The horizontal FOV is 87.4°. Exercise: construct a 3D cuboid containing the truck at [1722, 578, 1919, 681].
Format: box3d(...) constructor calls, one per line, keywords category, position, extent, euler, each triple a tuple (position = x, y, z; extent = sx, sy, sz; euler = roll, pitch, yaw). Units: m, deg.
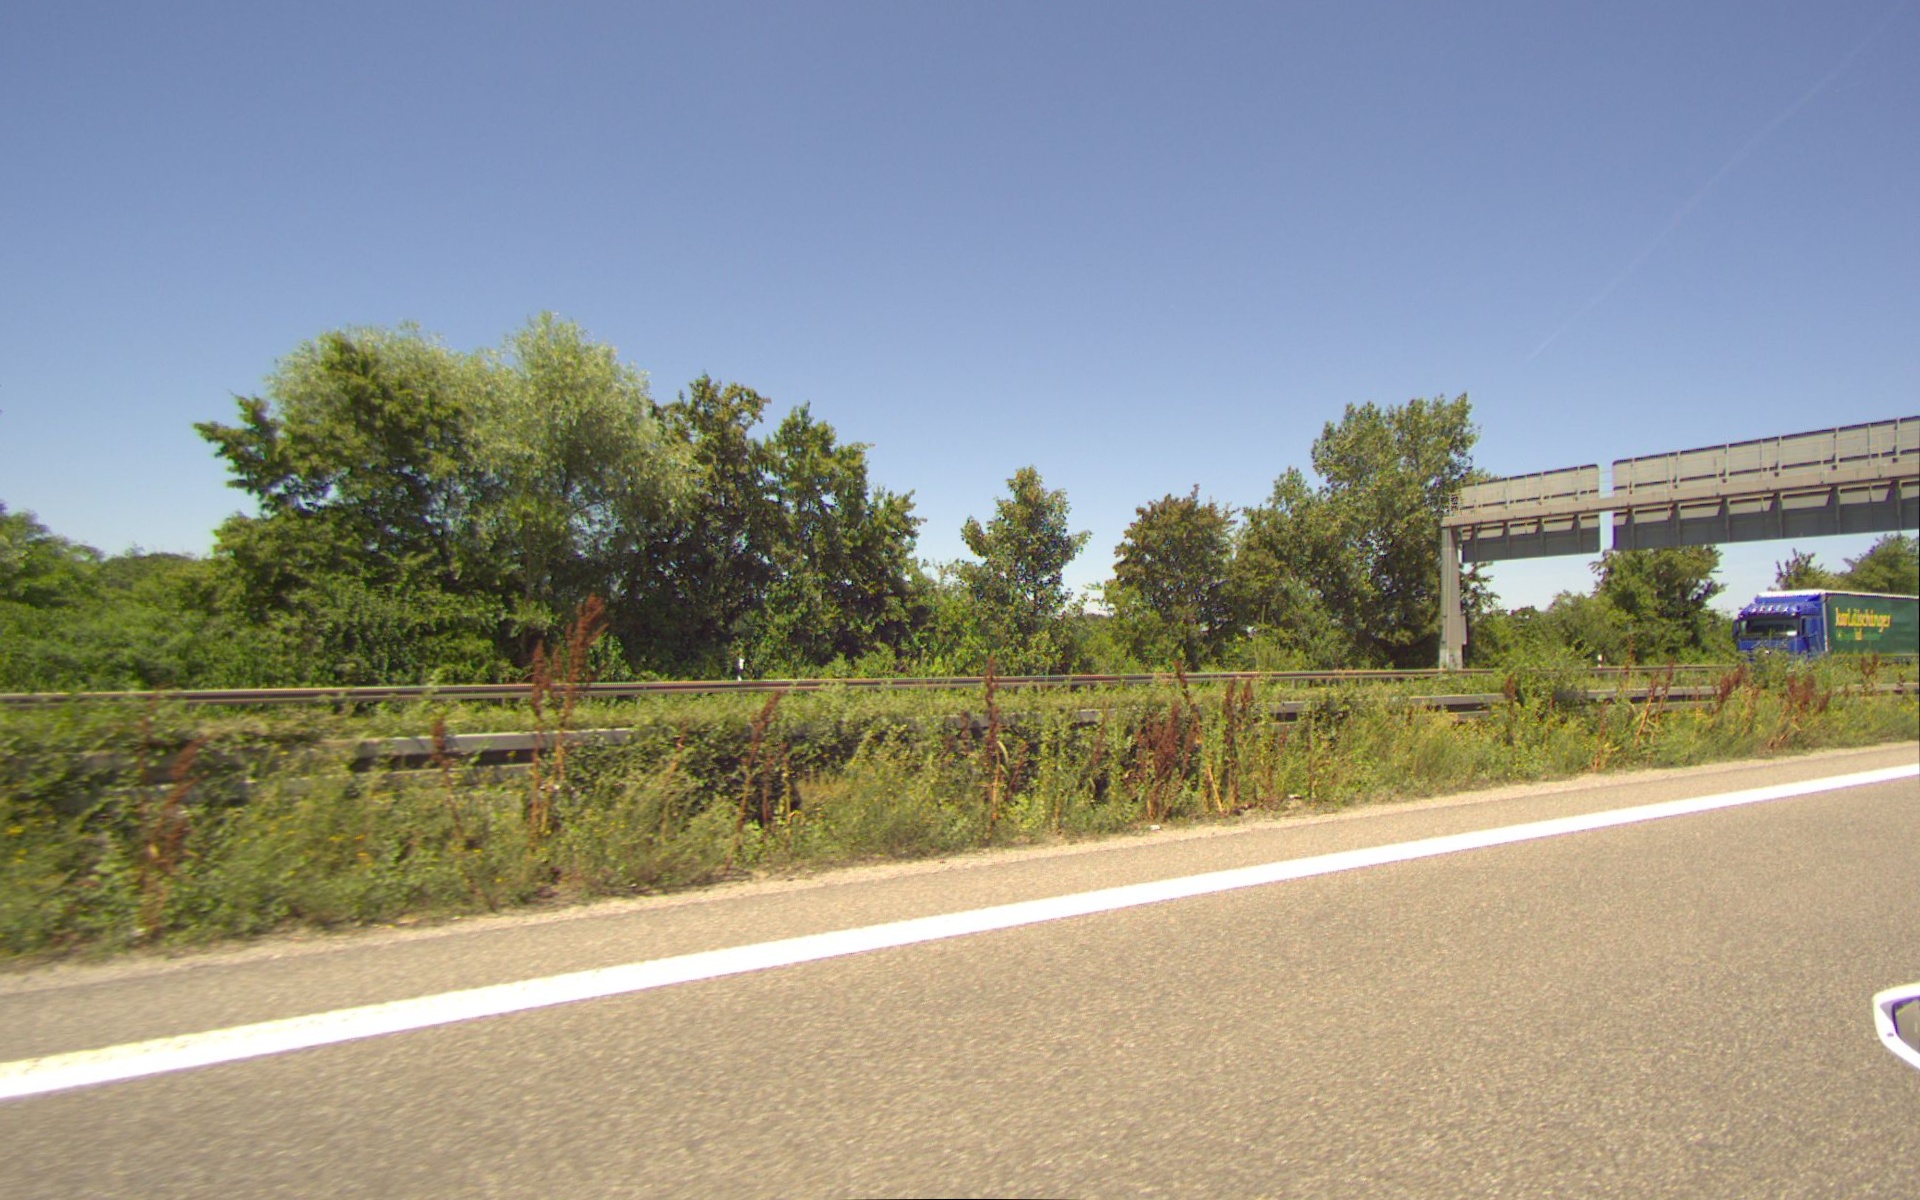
box3d(category="truck", position=(43.078, 1.552, 49.057), extent=(18.035, 4.399, 2.940), euler=(2, -3, -31))
